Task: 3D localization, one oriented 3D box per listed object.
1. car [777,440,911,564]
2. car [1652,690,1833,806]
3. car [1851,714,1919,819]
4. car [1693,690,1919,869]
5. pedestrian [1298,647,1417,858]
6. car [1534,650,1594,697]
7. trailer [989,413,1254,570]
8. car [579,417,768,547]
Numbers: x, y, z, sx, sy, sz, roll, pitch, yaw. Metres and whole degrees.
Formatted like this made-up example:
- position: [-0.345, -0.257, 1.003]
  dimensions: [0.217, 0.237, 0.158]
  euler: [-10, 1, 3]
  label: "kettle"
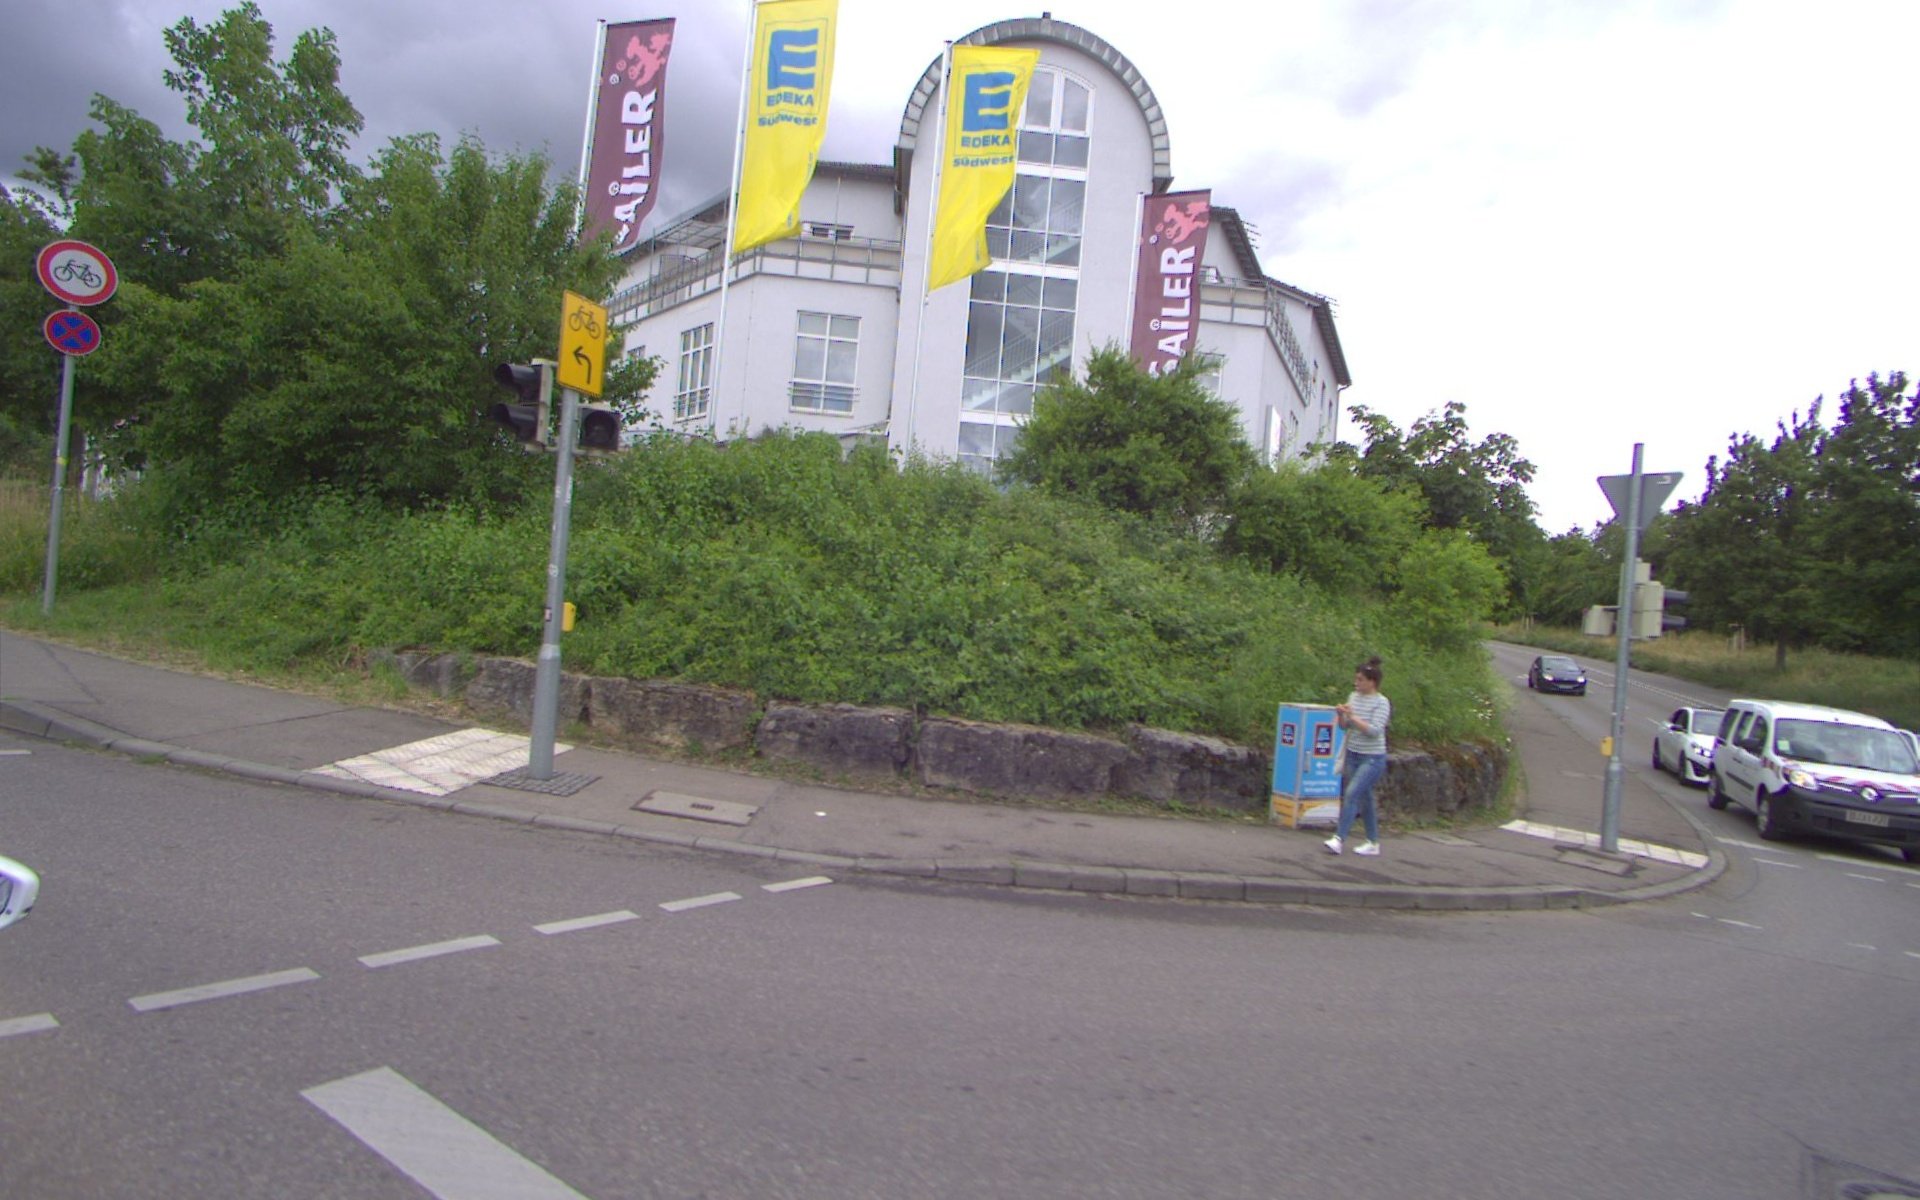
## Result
- position: [-2.194, -1.849, 20.296]
  dimensions: [1.797, 1.657, 4.517]
  euler: [6, -2, 3]
  label: "car"
- position: [14.980, 2.745, 19.519]
  dimensions: [1.932, 1.475, 3.823]
  euler: [5, 3, 27]
  label: "car"
- position: [17.414, 3.019, 17.460]
  dimensions: [1.729, 1.474, 4.303]
  euler: [5, 2, 27]
  label: "car"
- position: [12.281, 2.406, 14.444]
  dimensions: [1.918, 1.823, 4.716]
  euler: [5, 0, 27]
  label: "car"
- position: [3.310, 1.248, 8.371]
  dimensions: [0.620, 1.627, 0.573]
  euler: [7, -2, -44]
  label: "pedestrian"
- position: [25.233, 3.033, 42.122]
  dimensions: [1.729, 1.475, 3.822]
  euler: [5, 3, 27]
  label: "car"
- position: [4.190, -2.798, 26.917]
  dimensions: [6.375, 3.090, 2.471]
  euler: [7, -2, -3]
  label: "trailer"
- position: [-5.541, -2.221, 20.144]
  dimensions: [1.796, 1.657, 4.518]
  euler: [6, -2, 9]
  label: "car"
